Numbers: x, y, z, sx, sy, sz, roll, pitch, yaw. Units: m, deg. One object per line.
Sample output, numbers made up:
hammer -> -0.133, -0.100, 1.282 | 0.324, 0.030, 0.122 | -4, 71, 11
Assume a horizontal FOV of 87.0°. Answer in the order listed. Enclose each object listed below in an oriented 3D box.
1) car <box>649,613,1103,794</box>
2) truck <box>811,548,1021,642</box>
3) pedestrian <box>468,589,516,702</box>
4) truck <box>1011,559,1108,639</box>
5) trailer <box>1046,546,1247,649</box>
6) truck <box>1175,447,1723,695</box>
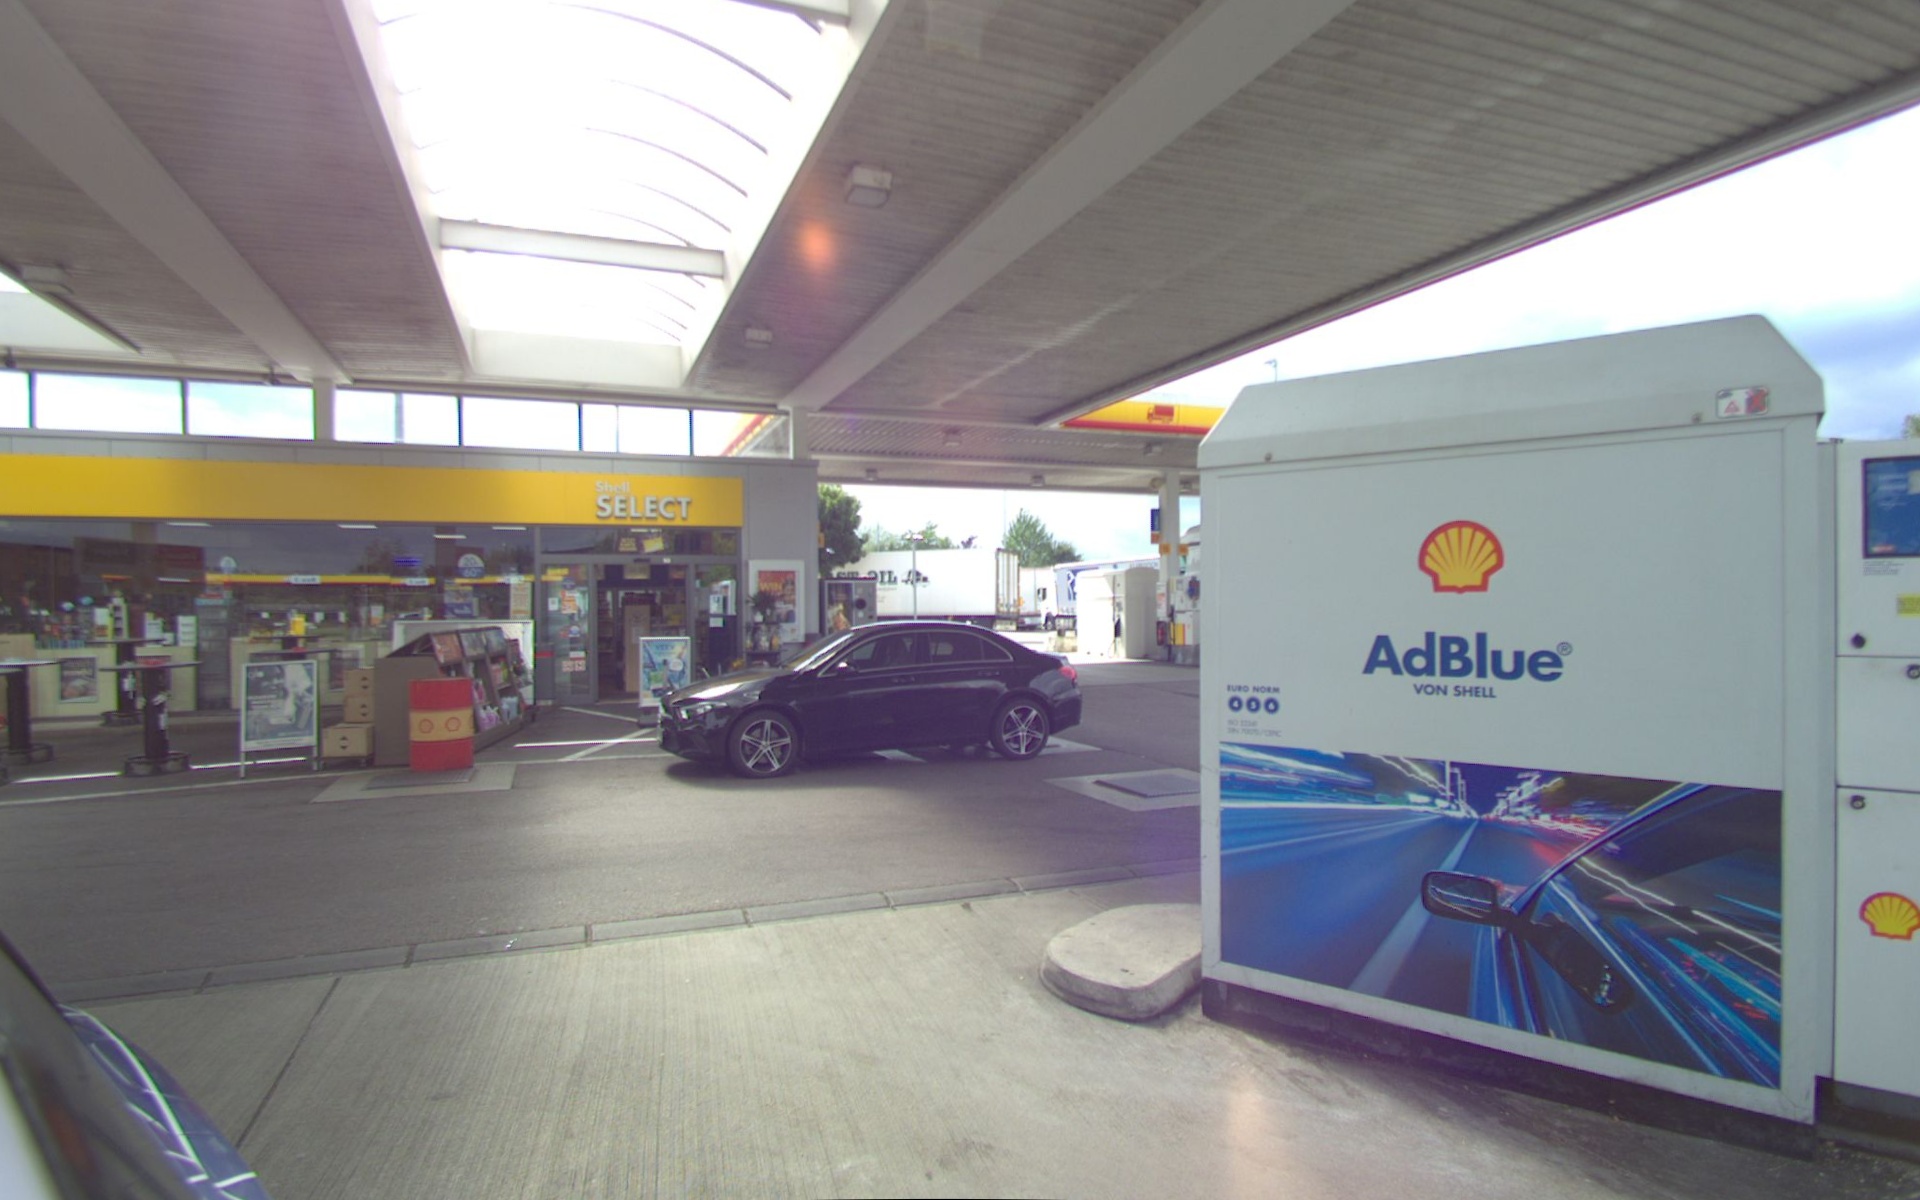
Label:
car -> -0.888, 0.942, 10.599 | 4.394, 1.511, 1.785 | -1, 0, -21
truck -> -2.111, -0.181, 46.836 | 9.536, 4.036, 2.772 | -1, 0, 25
pedestrian -> -8.103, 0.779, 17.551 | 0.503, 1.920, 0.579 | -1, 0, 10
truck -> 5.918, -0.049, 61.218 | 3.333, 4.538, 6.249 | -1, 0, -20
trailer -> 9.096, -0.099, 52.671 | 3.294, 4.600, 14.397 | -1, 0, -20
truck -> 9.651, -0.463, 23.099 | 2.491, 4.069, 12.947 | -1, 0, -22
